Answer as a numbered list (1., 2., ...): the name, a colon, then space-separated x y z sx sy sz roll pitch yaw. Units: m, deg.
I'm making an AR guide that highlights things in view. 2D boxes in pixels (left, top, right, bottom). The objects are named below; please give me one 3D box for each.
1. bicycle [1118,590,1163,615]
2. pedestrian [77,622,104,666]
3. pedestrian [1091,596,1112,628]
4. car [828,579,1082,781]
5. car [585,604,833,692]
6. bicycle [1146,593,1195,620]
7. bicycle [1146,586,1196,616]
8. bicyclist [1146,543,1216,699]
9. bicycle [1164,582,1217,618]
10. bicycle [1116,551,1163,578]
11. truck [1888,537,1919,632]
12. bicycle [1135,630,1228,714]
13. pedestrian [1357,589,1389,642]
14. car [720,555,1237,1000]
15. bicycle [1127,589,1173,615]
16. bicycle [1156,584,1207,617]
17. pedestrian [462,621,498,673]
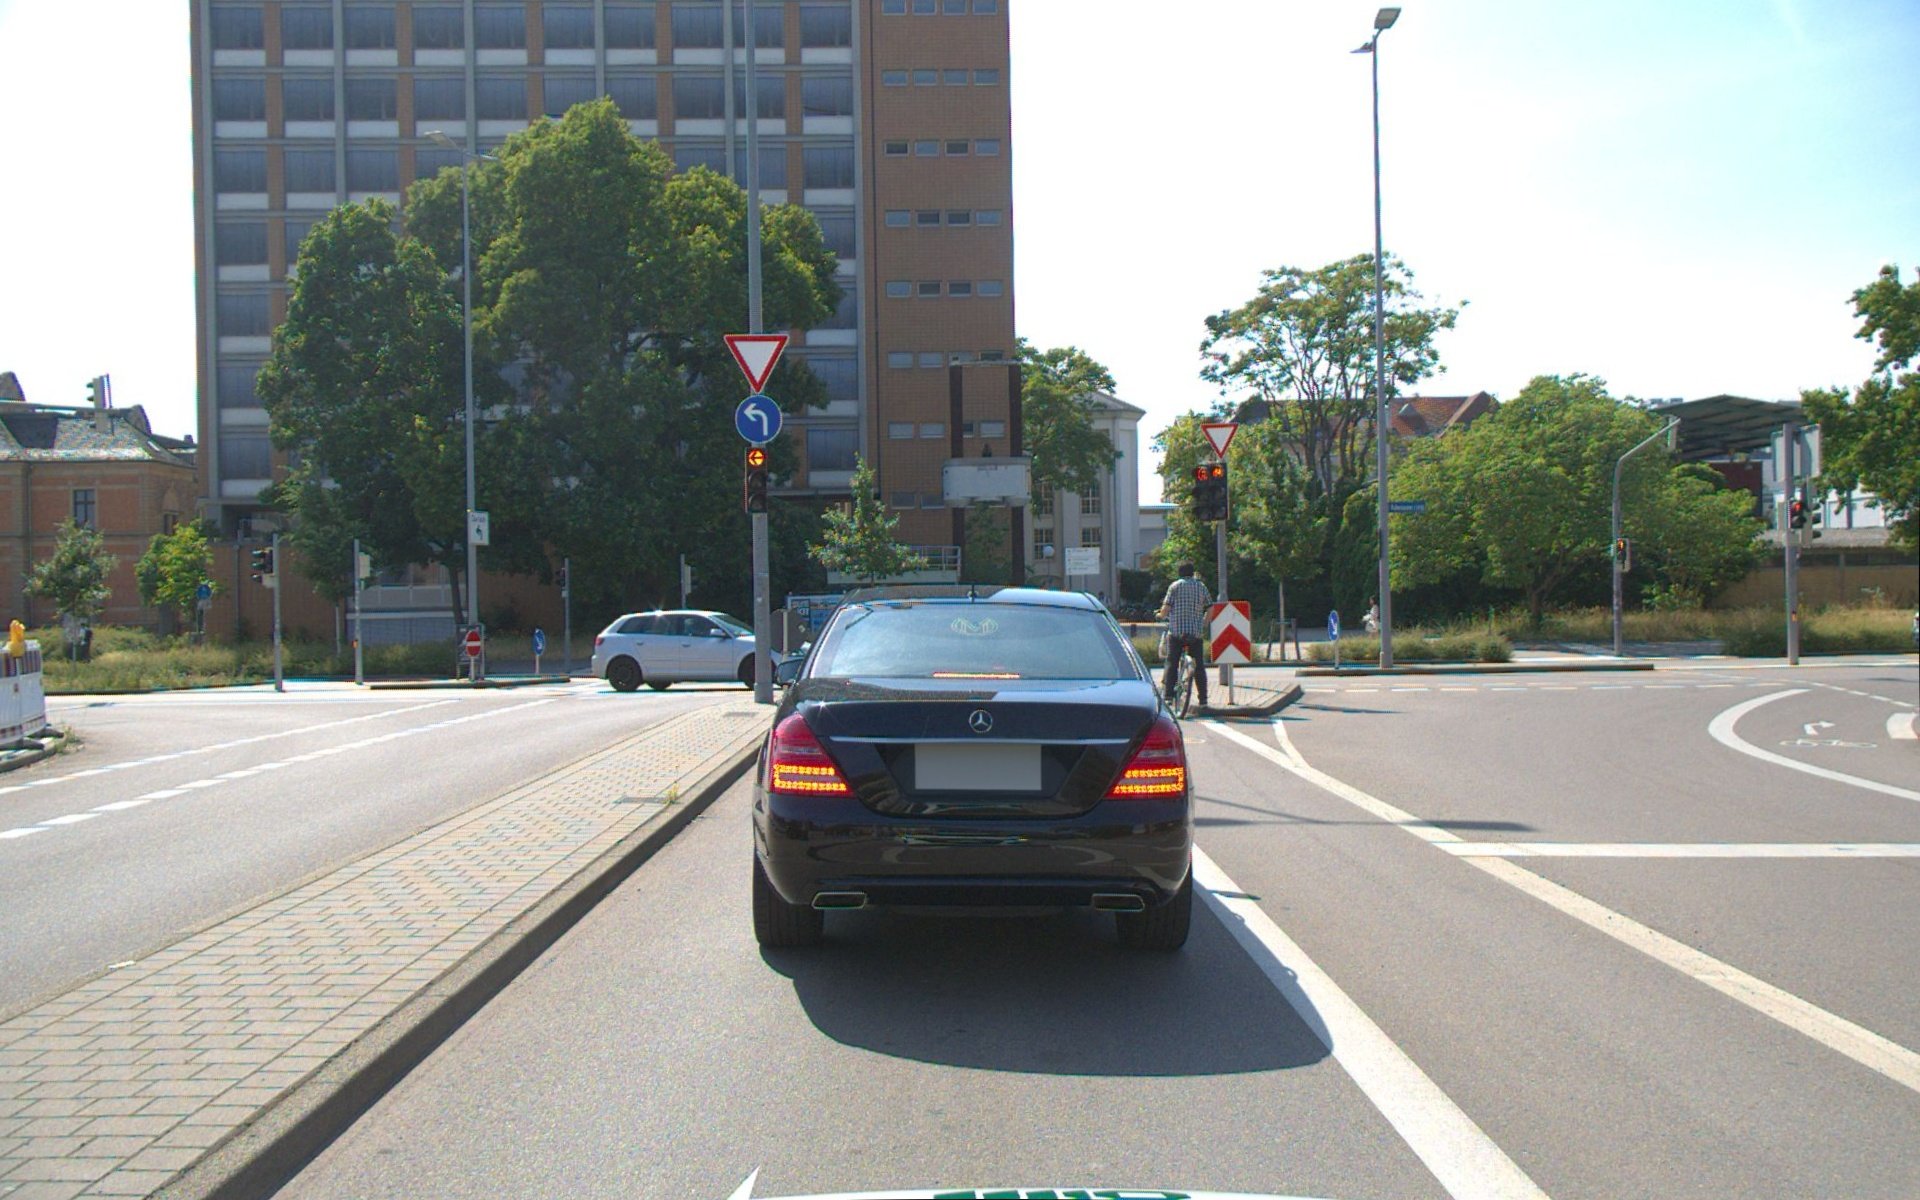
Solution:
1. bicycle: 11.651 0.152 106.606 2.765 1.506 0.841 -2 0 0
2. pedestrian: -33.768 1.711 64.218 0.635 1.690 0.649 1 -1 25
3. pedestrian: 5.511 0.467 64.202 0.776 1.235 0.758 1 0 6
4. car: -0.069 0.631 14.873 1.953 1.534 3.999 1 0 -1
5. car: -4.488 0.853 29.718 4.070 1.445 1.586 -2 0 14
6. bicycle: 12.542 0.380 98.553 2.766 1.564 0.841 -2 0 -2
7. bicycle: 12.302 0.056 96.512 2.766 1.688 0.841 -2 1 -2
8. bicyclist: 2.747 0.258 20.626 0.673 1.911 0.858 0 0 -7
9. bicycle: 12.754 0.001 91.713 2.766 1.868 0.841 -2 0 -2
10. bicycle: 11.158 -2.219 102.656 2.766 1.586 0.841 -2 0 -2
11. truck: 27.614 -0.488 41.855 6.881 2.397 2.413 -2 0 0
12. bicycle: 2.741 0.879 20.653 0.679 0.963 1.955 1 0 -7
13. pedestrian: 12.825 0.488 51.393 0.794 1.607 0.692 -1 -1 1
14. car: 0.123 0.637 8.228 1.820 1.557 4.714 1 0 1
15. bicycle: 12.010 0.130 104.723 2.766 1.526 0.841 -2 0 -2
16. bicycle: 12.578 0.035 93.970 2.766 1.775 0.841 -2 0 -2
17. pedestrian: -16.451 1.600 56.705 0.781 1.756 0.873 -2 -1 22
